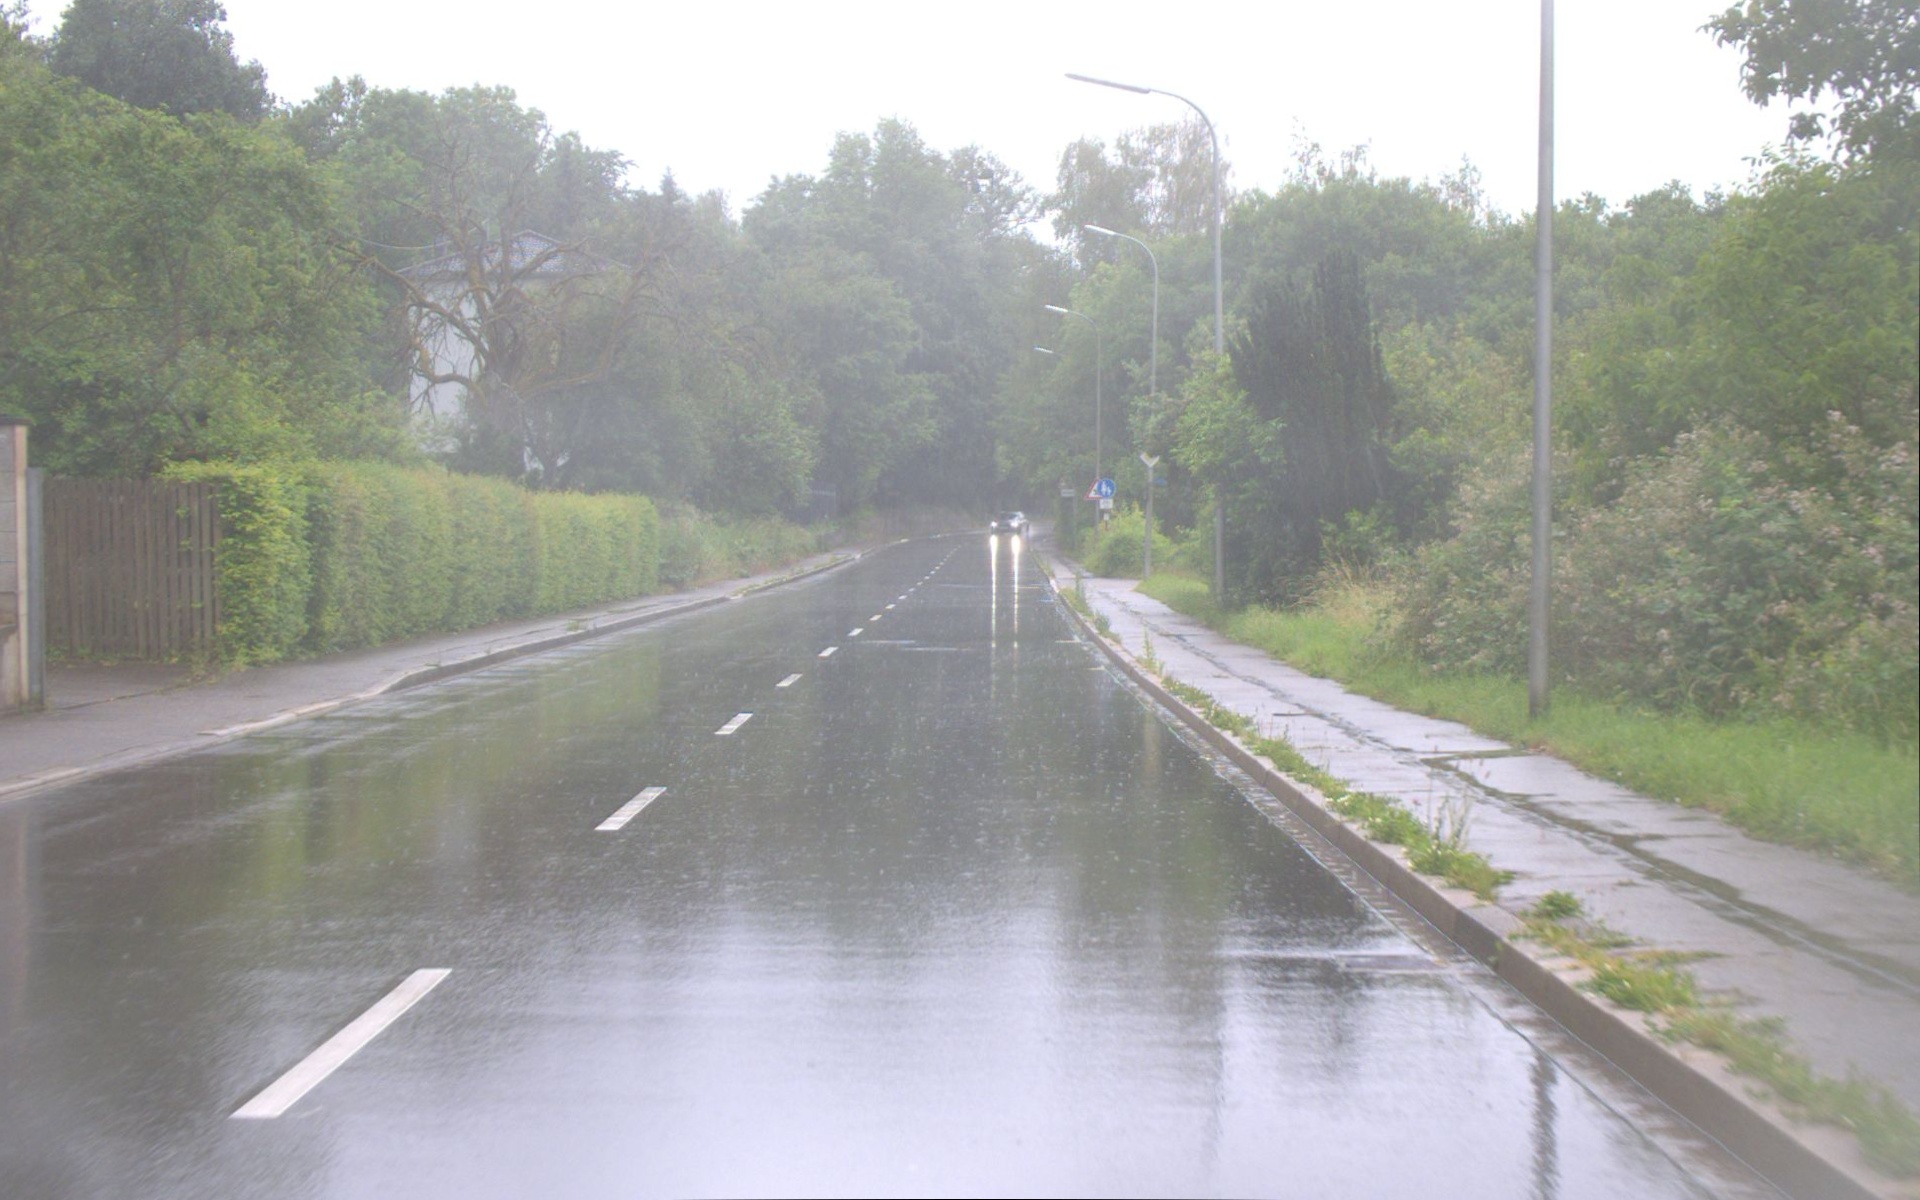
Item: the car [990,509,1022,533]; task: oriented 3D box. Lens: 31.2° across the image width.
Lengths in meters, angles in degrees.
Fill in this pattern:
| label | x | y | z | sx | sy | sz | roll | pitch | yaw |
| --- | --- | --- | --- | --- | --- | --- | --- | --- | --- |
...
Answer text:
| label | x | y | z | sx | sy | sz | roll | pitch | yaw |
| --- | --- | --- | --- | --- | --- | --- | --- | --- | --- |
| car | 2.926 | -5.085 | 219.902 | 1.993 | 1.449 | 4.428 | 1 | 2 | 1 |
